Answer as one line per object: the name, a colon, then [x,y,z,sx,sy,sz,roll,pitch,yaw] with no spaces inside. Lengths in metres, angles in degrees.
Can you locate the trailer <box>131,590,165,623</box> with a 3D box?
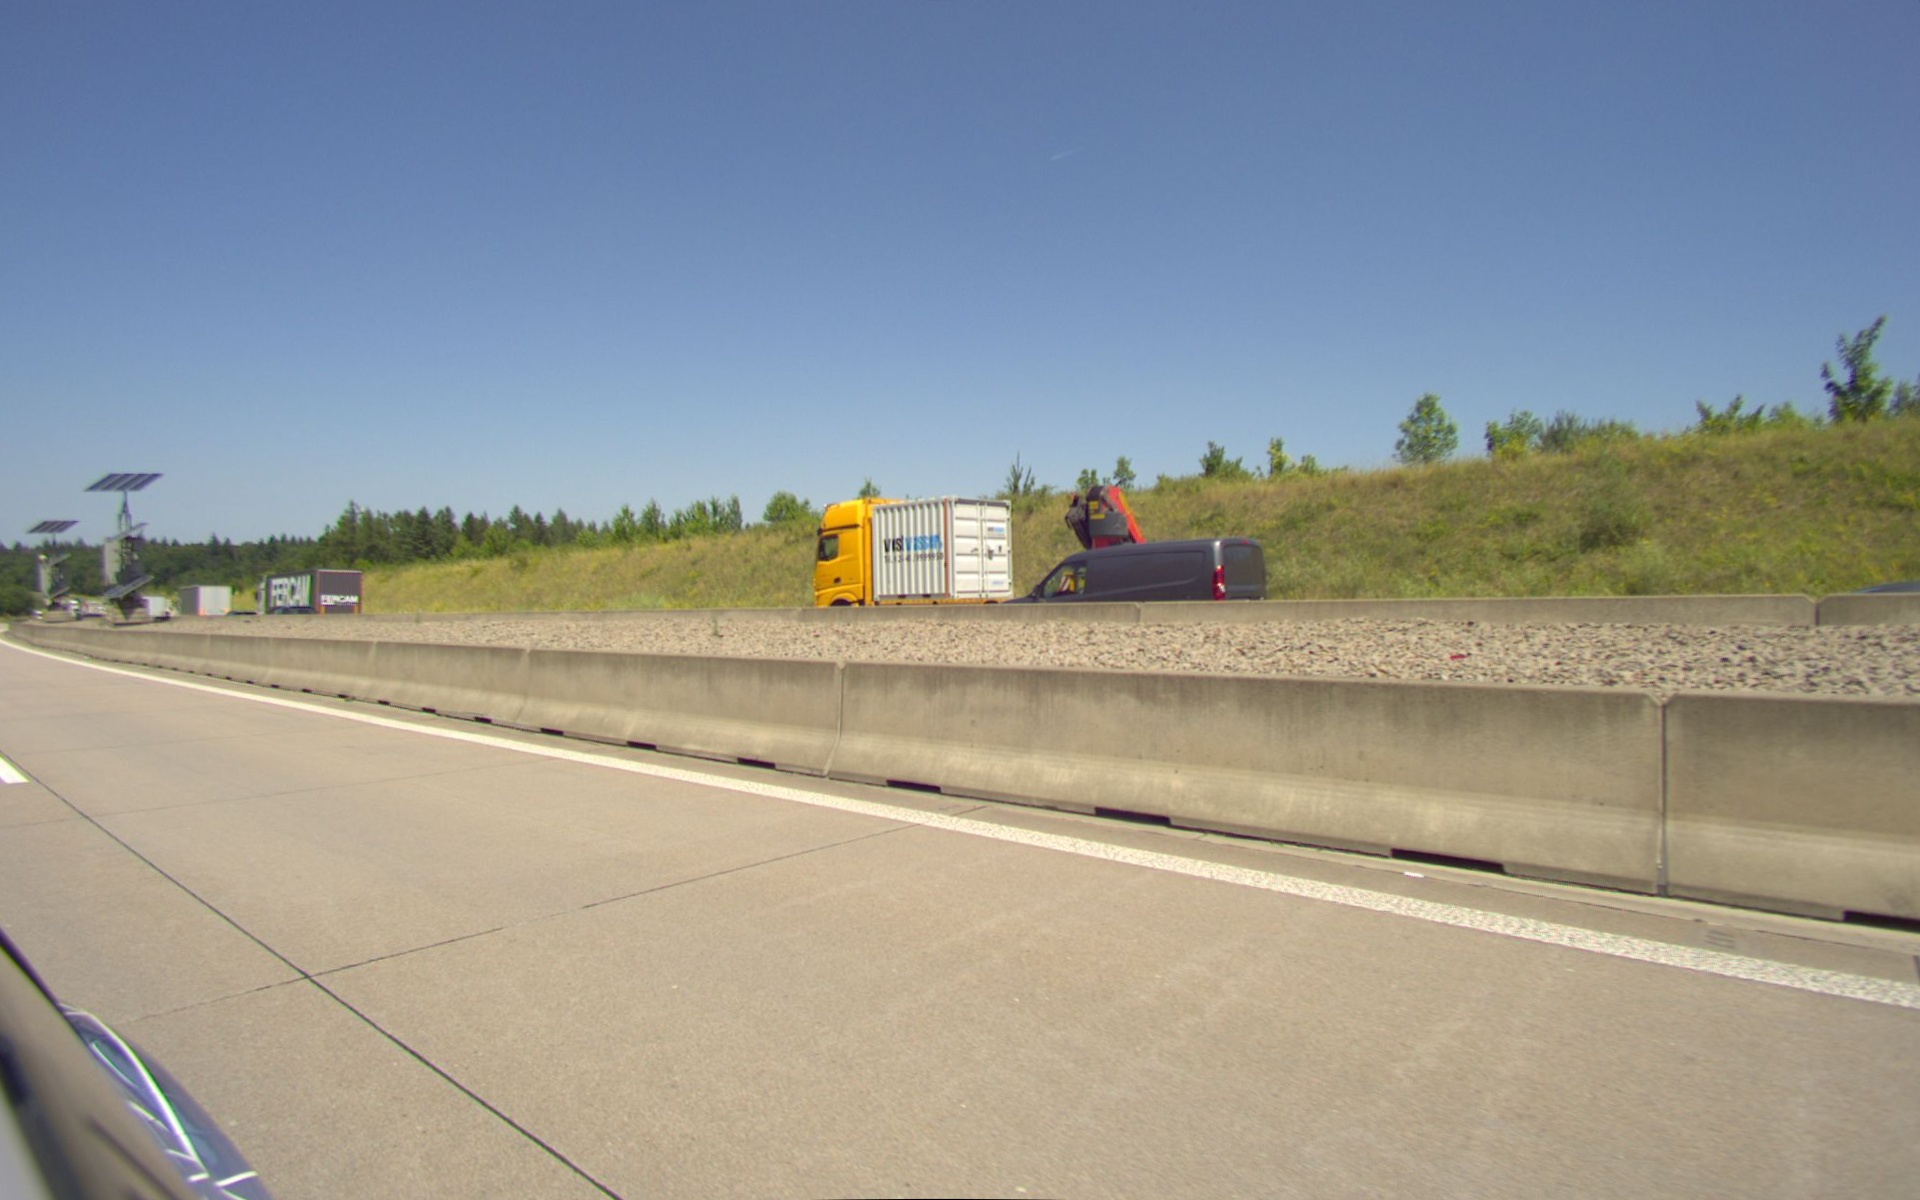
trailer: [-113.314,0.918,141.192,2.898,4.200,14.407,-3,1,-41]

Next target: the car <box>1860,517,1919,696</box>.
car: [13.006,0.055,10.973,4.803,2.029,2.259,-1,-1,43]

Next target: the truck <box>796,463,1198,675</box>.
truck: [0.447,-0.583,26.540,11.253,4.547,2.883,-1,-1,41]

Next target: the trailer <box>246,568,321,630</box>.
trailer: [-48.734,-0.070,72.818,6.892,4.200,2.901,-1,1,43]

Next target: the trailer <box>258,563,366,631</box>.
trailer: [-43.794,-0.145,68.117,13.191,4.200,2.901,-1,1,44]

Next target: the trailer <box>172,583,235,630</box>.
trailer: [-73.543,0.633,98.203,2.900,4.200,14.397,-3,1,-44]

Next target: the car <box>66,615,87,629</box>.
car: [-124.791,3.069,142.895,4.002,1.929,1.971,-1,-2,45]

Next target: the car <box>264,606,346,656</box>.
car: [-27.659,1.281,42.676,4.000,2.029,1.972,-1,-1,43]

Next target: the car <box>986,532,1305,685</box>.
car: [2.753,0.147,15.583,4.456,2.029,1.974,-1,-1,39]
